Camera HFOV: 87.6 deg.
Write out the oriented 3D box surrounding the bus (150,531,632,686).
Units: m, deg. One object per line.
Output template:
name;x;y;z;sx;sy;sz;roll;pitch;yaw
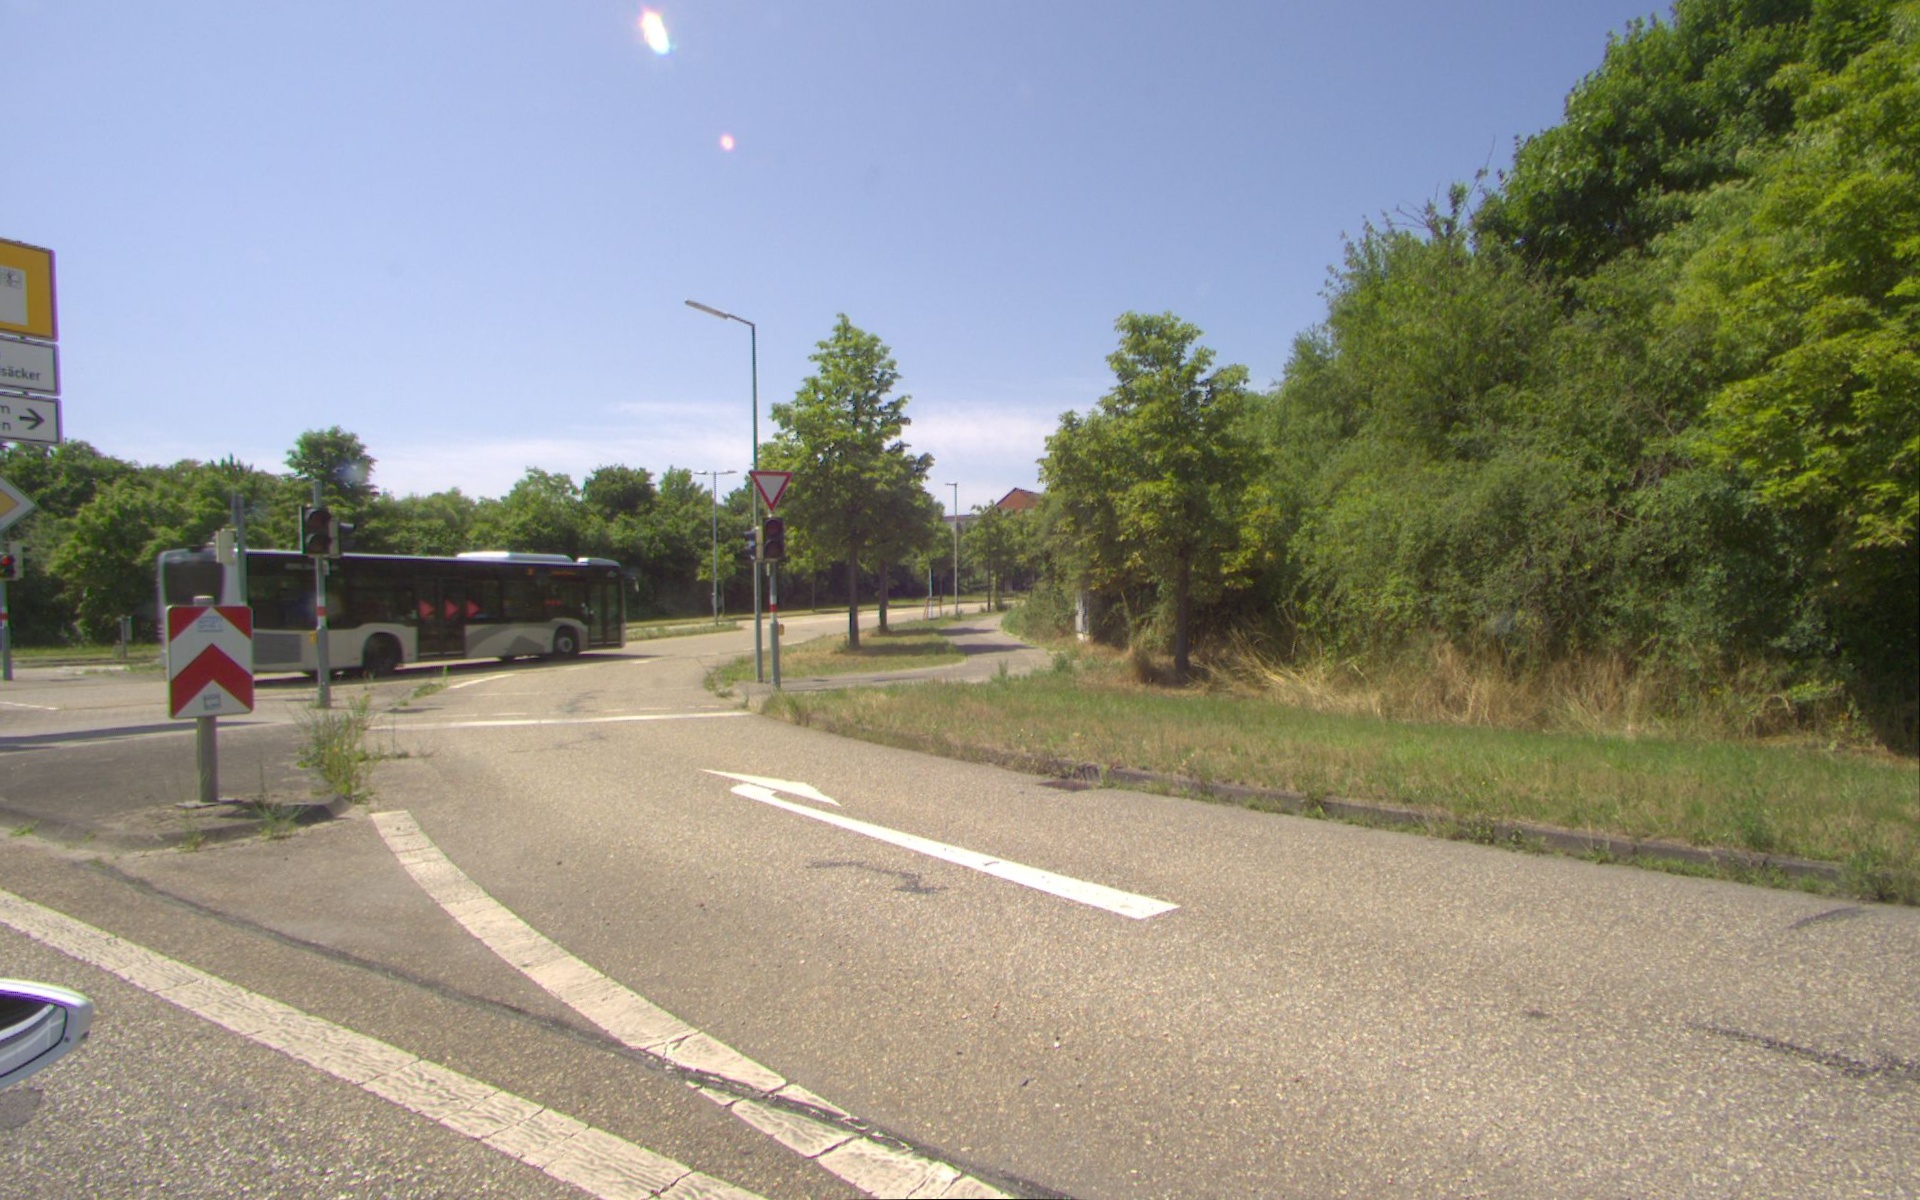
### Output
bus;-13.742;0.187;26.360;2.586;3.127;12.049;0;0;22
